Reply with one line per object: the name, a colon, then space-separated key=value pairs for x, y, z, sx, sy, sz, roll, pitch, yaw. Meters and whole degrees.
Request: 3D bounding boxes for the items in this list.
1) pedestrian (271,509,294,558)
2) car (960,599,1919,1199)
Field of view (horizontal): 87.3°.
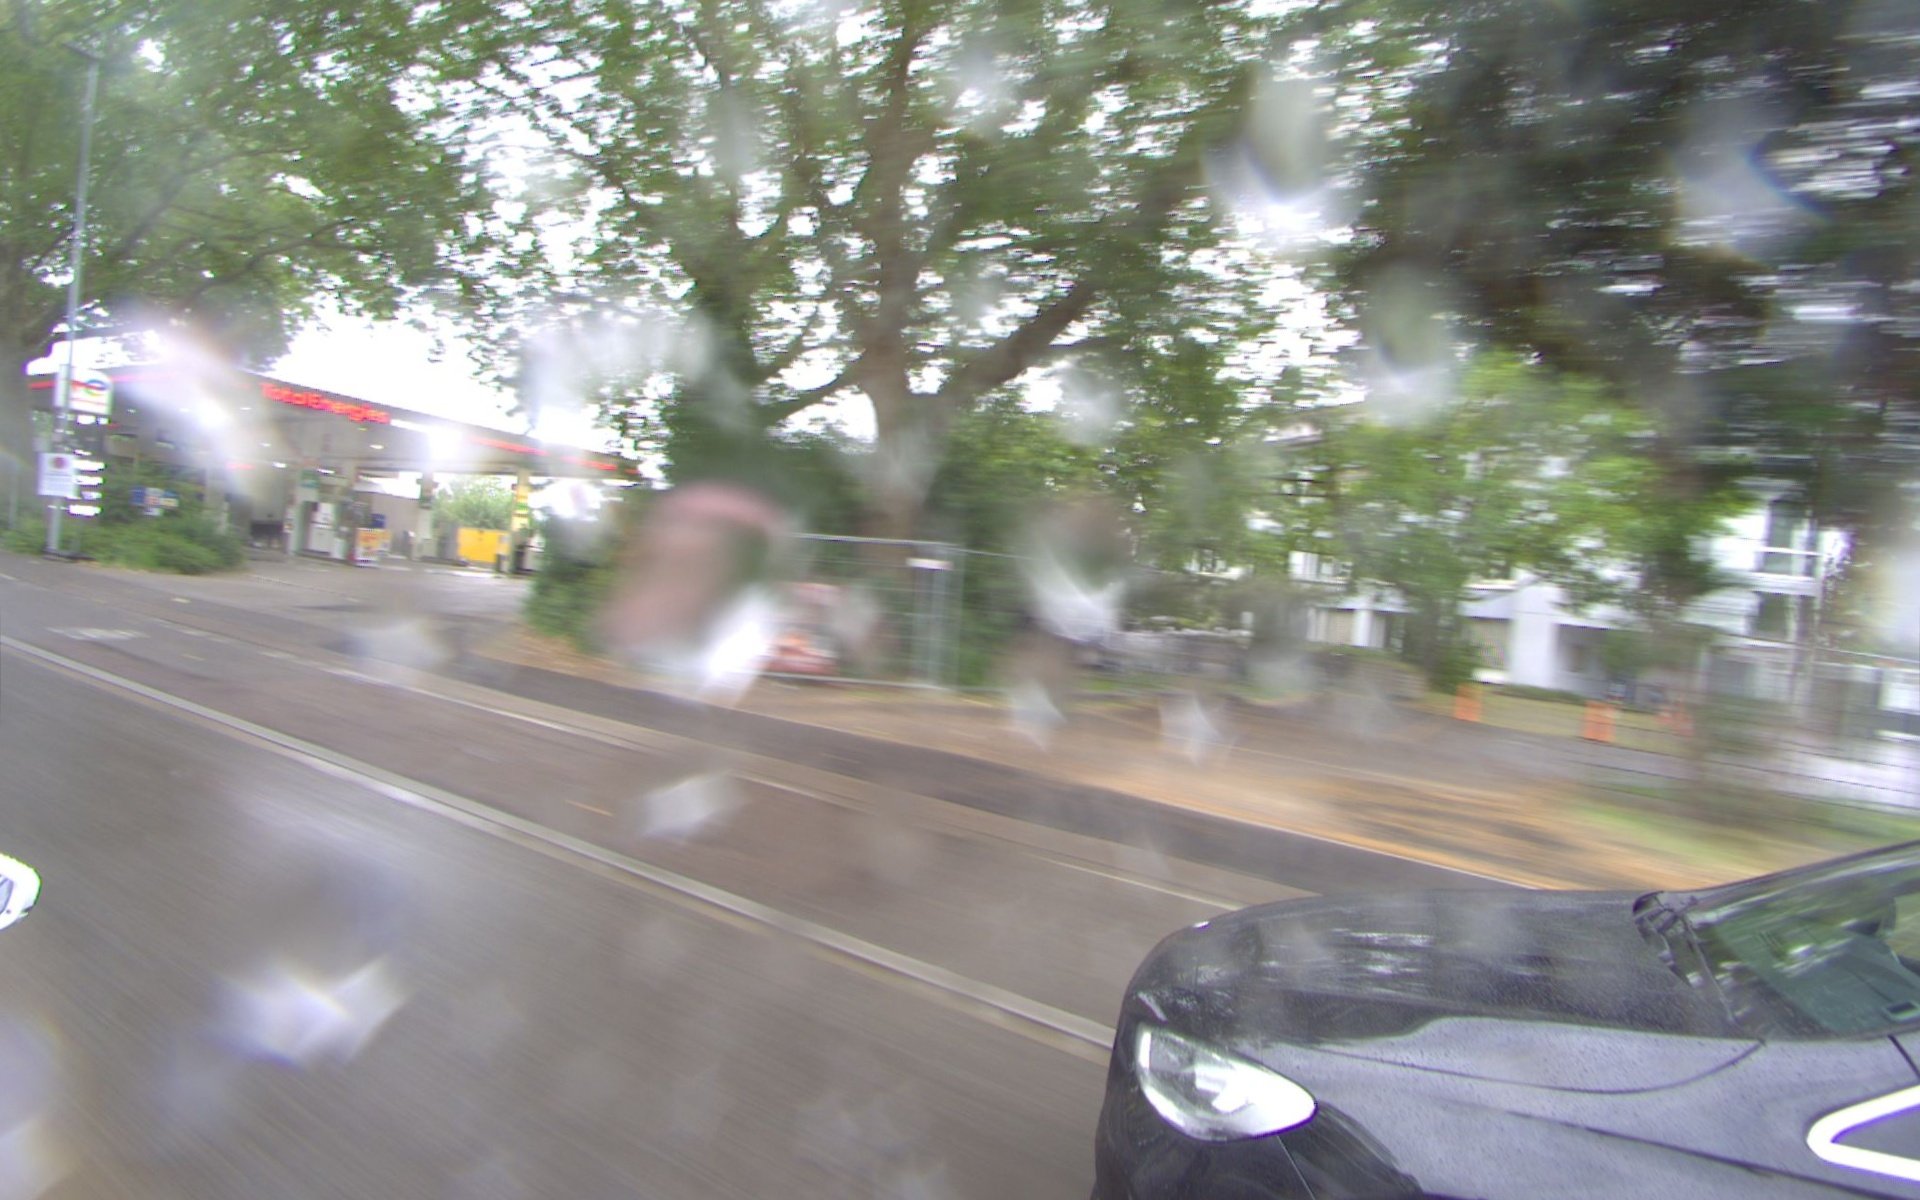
pedestrian: x=-25.431 y=-2.496 z=37.771 sx=0.551 sy=1.747 sz=0.718 roll=4 pitch=2 yaw=-39
car: x=2.215 y=1.002 z=1.664 sx=4.020 sy=1.543 sz=1.872 roll=6 pitch=0 yaw=32
